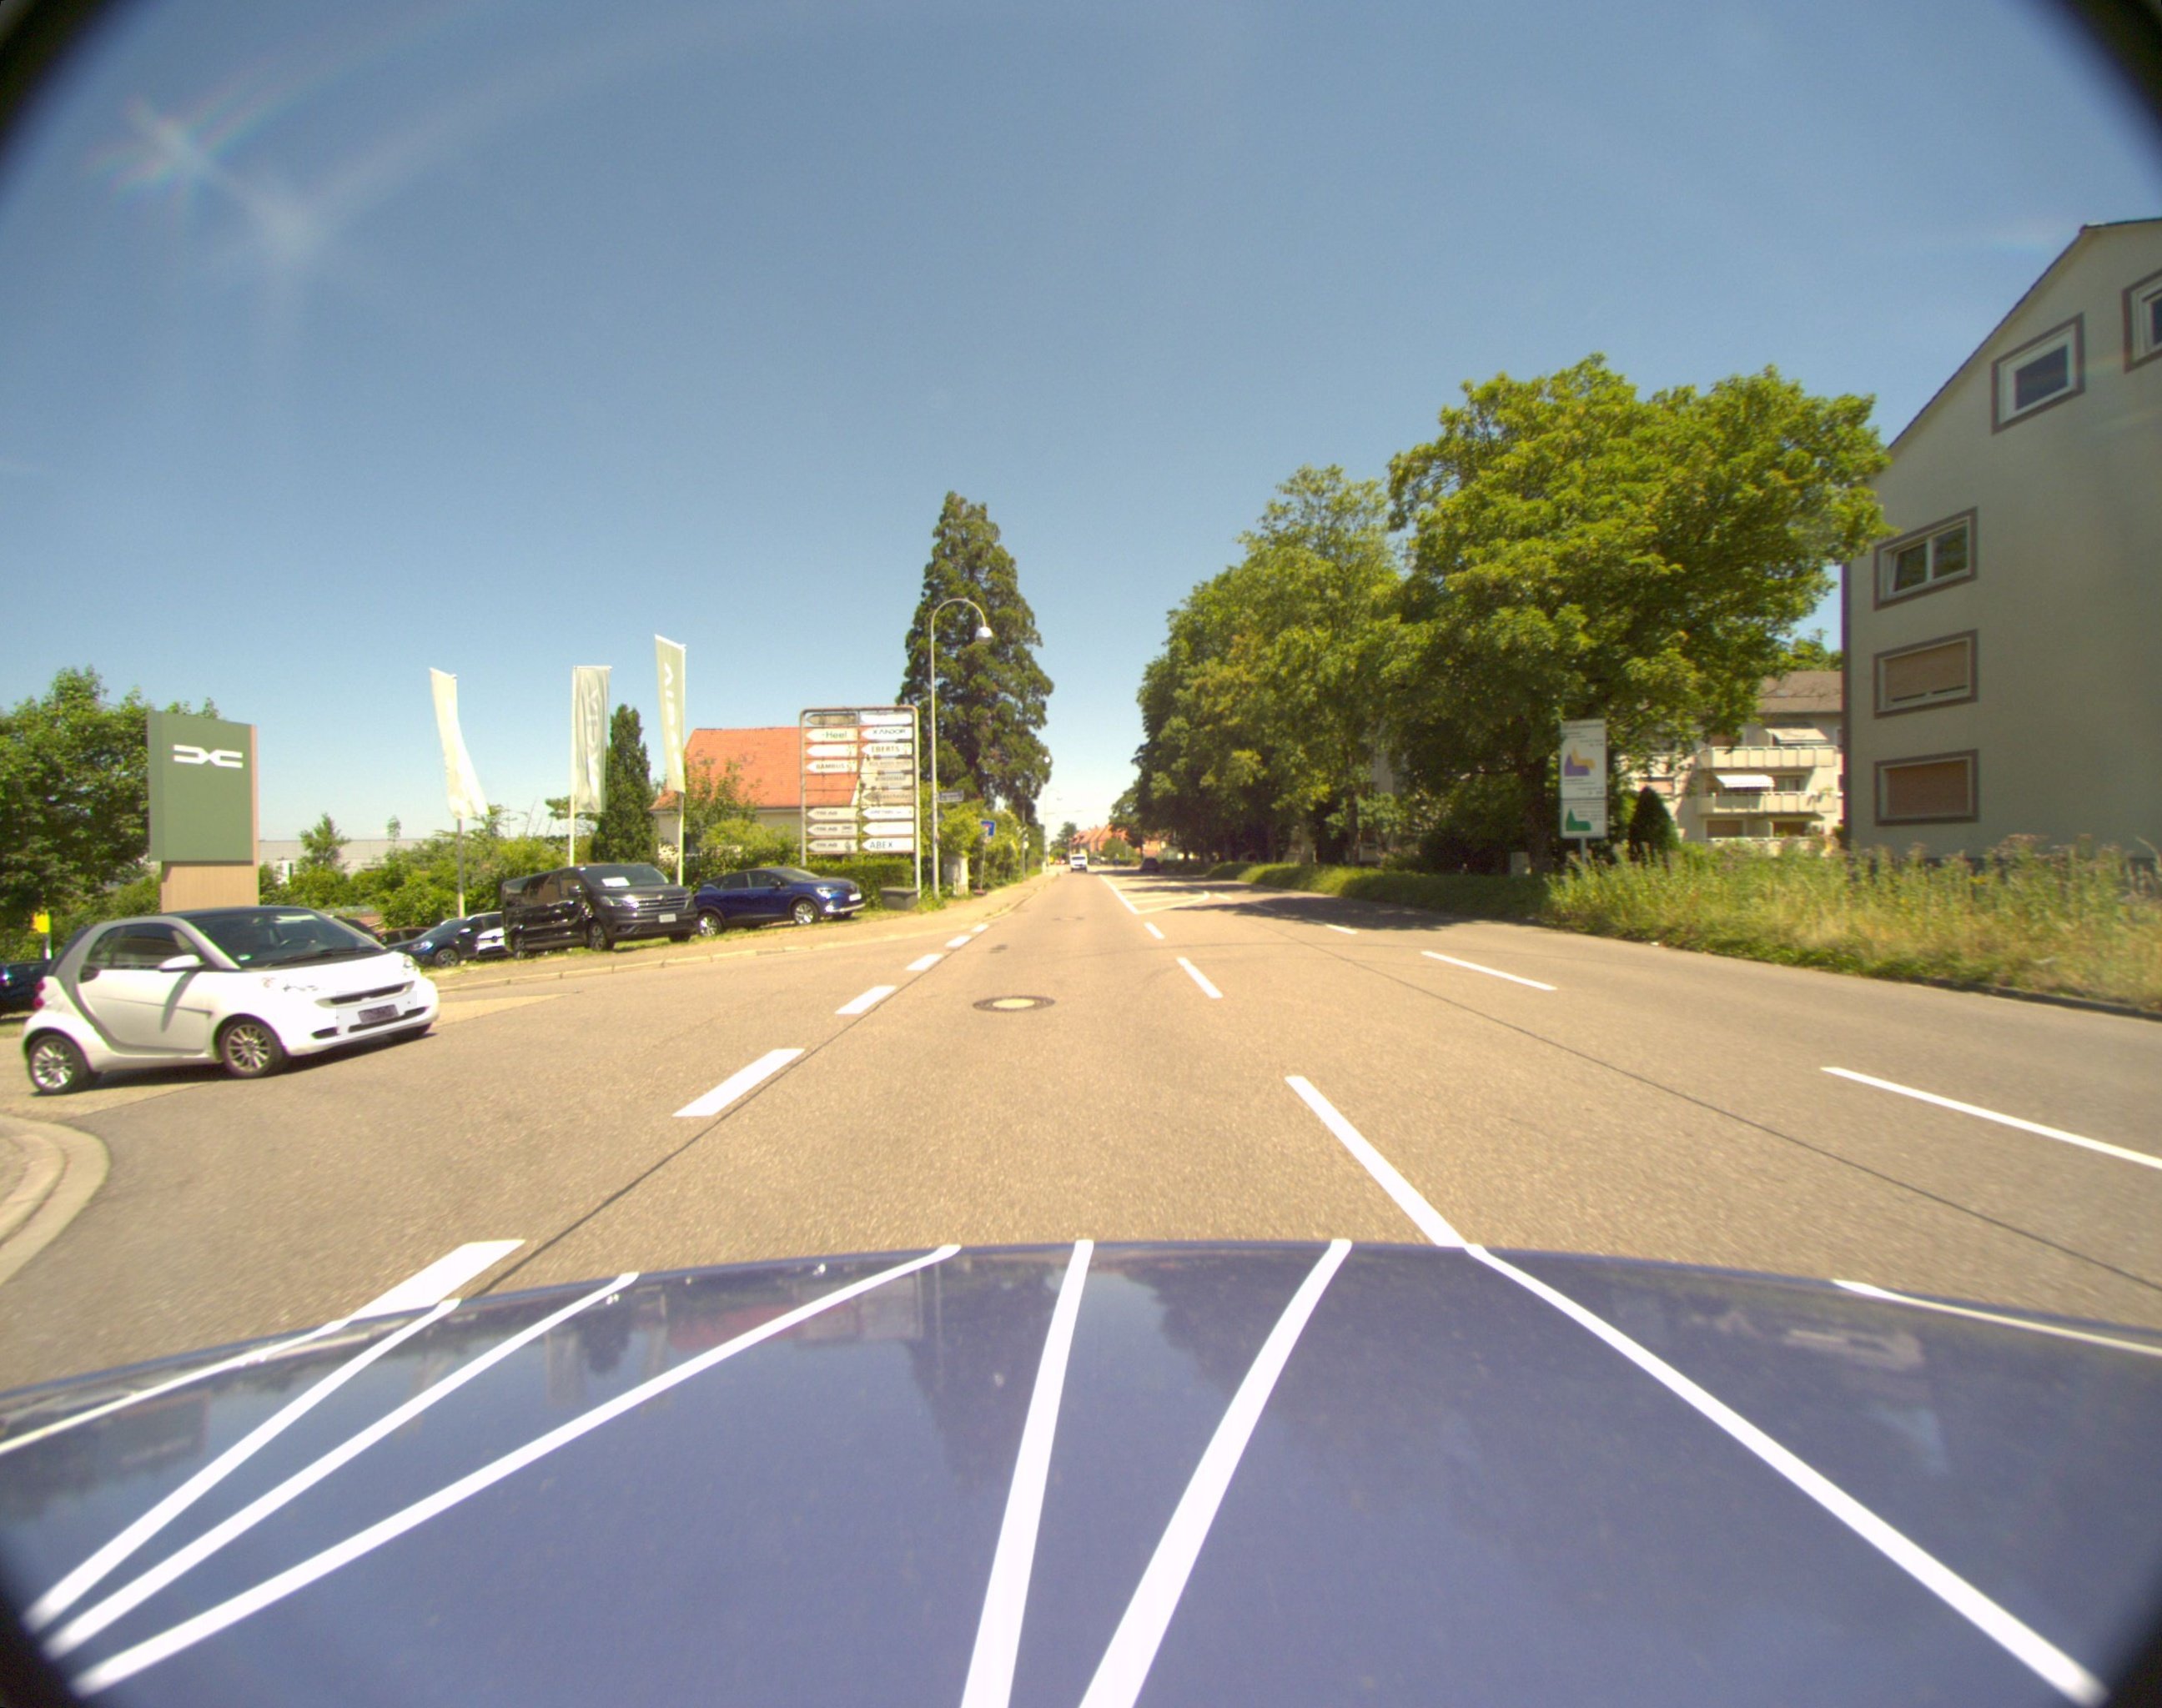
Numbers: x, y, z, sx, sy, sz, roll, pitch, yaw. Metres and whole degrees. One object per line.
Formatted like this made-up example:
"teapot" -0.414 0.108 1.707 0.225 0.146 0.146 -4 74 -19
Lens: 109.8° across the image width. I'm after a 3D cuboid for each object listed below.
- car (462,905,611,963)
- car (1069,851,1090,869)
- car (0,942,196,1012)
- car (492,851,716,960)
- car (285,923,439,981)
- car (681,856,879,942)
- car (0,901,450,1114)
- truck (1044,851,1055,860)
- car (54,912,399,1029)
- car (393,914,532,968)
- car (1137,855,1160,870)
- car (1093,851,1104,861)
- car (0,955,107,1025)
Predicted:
"car" -16.758 2.413 23.666 1.829 1.482 4.145 -5 -3 -5
"car" -0.175 0.708 87.234 1.999 2.001 4.385 -2 0 -5
"car" -33.132 4.064 25.601 1.874 1.693 4.000 -2 0 0
"car" -10.698 1.193 16.892 5.265 1.888 2.001 -7 -1 32
"car" -23.628 3.176 25.146 1.739 1.434 3.433 -5 -1 0
"car" -7.419 1.102 18.897 4.075 1.505 1.857 -7 1 12
"car" -8.155 1.387 7.297 2.773 1.511 1.596 -5 2 6
"truck" -8.589 0.433 206.505 2.020 2.295 6.170 -4 0 -11
"car" -17.624 2.322 16.042 1.826 1.648 4.372 -4 1 17
"car" -20.237 2.809 25.053 1.739 1.498 3.435 -5 -4 0
"car" 6.566 0.815 74.444 1.726 1.419 4.147 -2 0 -1
"car" 3.758 0.513 161.328 1.999 1.899 4.988 -2 2 -2
"car" -30.468 3.826 21.170 3.998 1.608 1.894 -2 0 -2
